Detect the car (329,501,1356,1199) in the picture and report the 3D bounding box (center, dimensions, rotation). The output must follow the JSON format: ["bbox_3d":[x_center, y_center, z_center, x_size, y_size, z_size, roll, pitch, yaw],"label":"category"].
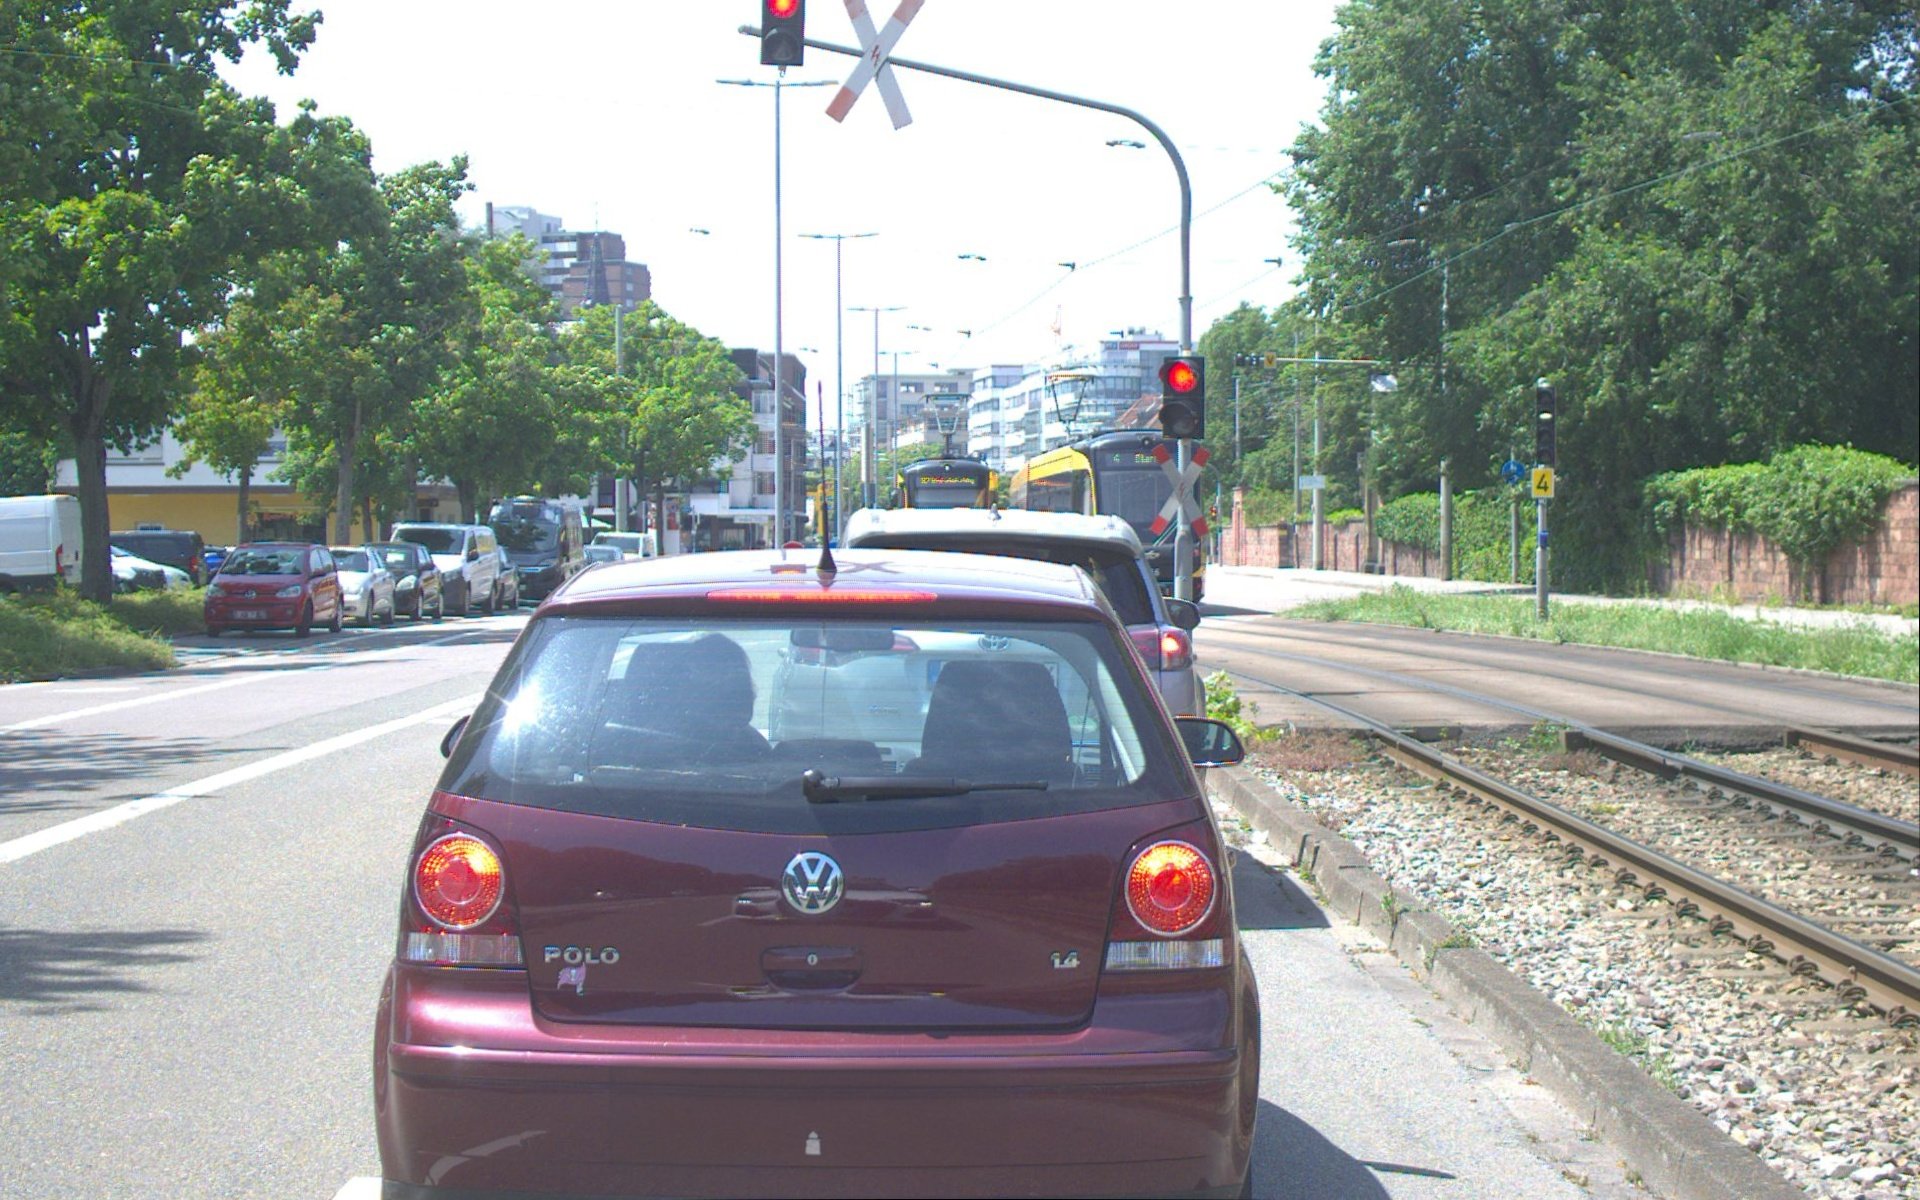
[{"bbox_3d":[-0.242,0.569,7.693,1.672,1.516,4.000,1,1,-1],"label":"car"}]

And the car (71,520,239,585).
[{"bbox_3d":[-21.630,-1.276,92.447,4.020,1.611,1.816,2,0,1],"label":"car"}]

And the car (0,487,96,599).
[{"bbox_3d":[-20.895,-1.237,71.617,5.097,2.237,2.378,2,0,1],"label":"car"}]

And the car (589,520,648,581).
[{"bbox_3d":[-10.743,-1.543,108.212,1.774,1.822,4.001,2,0,-6],"label":"car"}]

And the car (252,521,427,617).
[{"bbox_3d":[-11.076,-0.549,61.653,1.976,1.595,4.557,2,0,4],"label":"car"}]

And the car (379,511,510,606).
[{"bbox_3d":[-10.742,-0.854,71.889,1.783,1.875,4.785,2,0,2],"label":"car"}]

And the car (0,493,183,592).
[{"bbox_3d":[-21.599,-1.405,82.971,5.097,2.237,2.378,2,0,1],"label":"car"}]

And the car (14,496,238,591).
[{"bbox_3d":[-21.318,-1.435,88.037,5.097,2.237,2.378,2,0,1],"label":"car"}]

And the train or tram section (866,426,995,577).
[{"bbox_3d":[-0.887,-2.554,90.146,2.740,3.597,12.872,2,1,-3],"label":"train or tram section"}]

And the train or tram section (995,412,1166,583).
[{"bbox_3d":[2.745,-2.426,82.989,3.028,3.785,13.091,0,1,-3],"label":"train or tram section"}]

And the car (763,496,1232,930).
[{"bbox_3d":[0.099,0.395,15.342,1.777,1.641,4.000,1,1,-1],"label":"car"}]

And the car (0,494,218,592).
[{"bbox_3d":[-21.289,-1.415,85.442,5.097,2.237,2.378,2,0,1],"label":"car"}]

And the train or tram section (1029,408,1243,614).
[{"bbox_3d":[3.383,-1.790,69.970,3.028,3.785,13.091,0,1,-3],"label":"train or tram section"}]

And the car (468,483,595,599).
[{"bbox_3d":[-10.545,-1.432,84.926,2.361,2.683,5.307,2,0,0],"label":"car"}]

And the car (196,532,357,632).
[{"bbox_3d":[-10.904,-0.287,55.106,1.663,1.491,4.000,2,0,1],"label":"car"}]

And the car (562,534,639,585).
[{"bbox_3d":[-10.648,-1.180,101.951,1.614,1.436,4.000,2,0,3],"label":"car"}]
